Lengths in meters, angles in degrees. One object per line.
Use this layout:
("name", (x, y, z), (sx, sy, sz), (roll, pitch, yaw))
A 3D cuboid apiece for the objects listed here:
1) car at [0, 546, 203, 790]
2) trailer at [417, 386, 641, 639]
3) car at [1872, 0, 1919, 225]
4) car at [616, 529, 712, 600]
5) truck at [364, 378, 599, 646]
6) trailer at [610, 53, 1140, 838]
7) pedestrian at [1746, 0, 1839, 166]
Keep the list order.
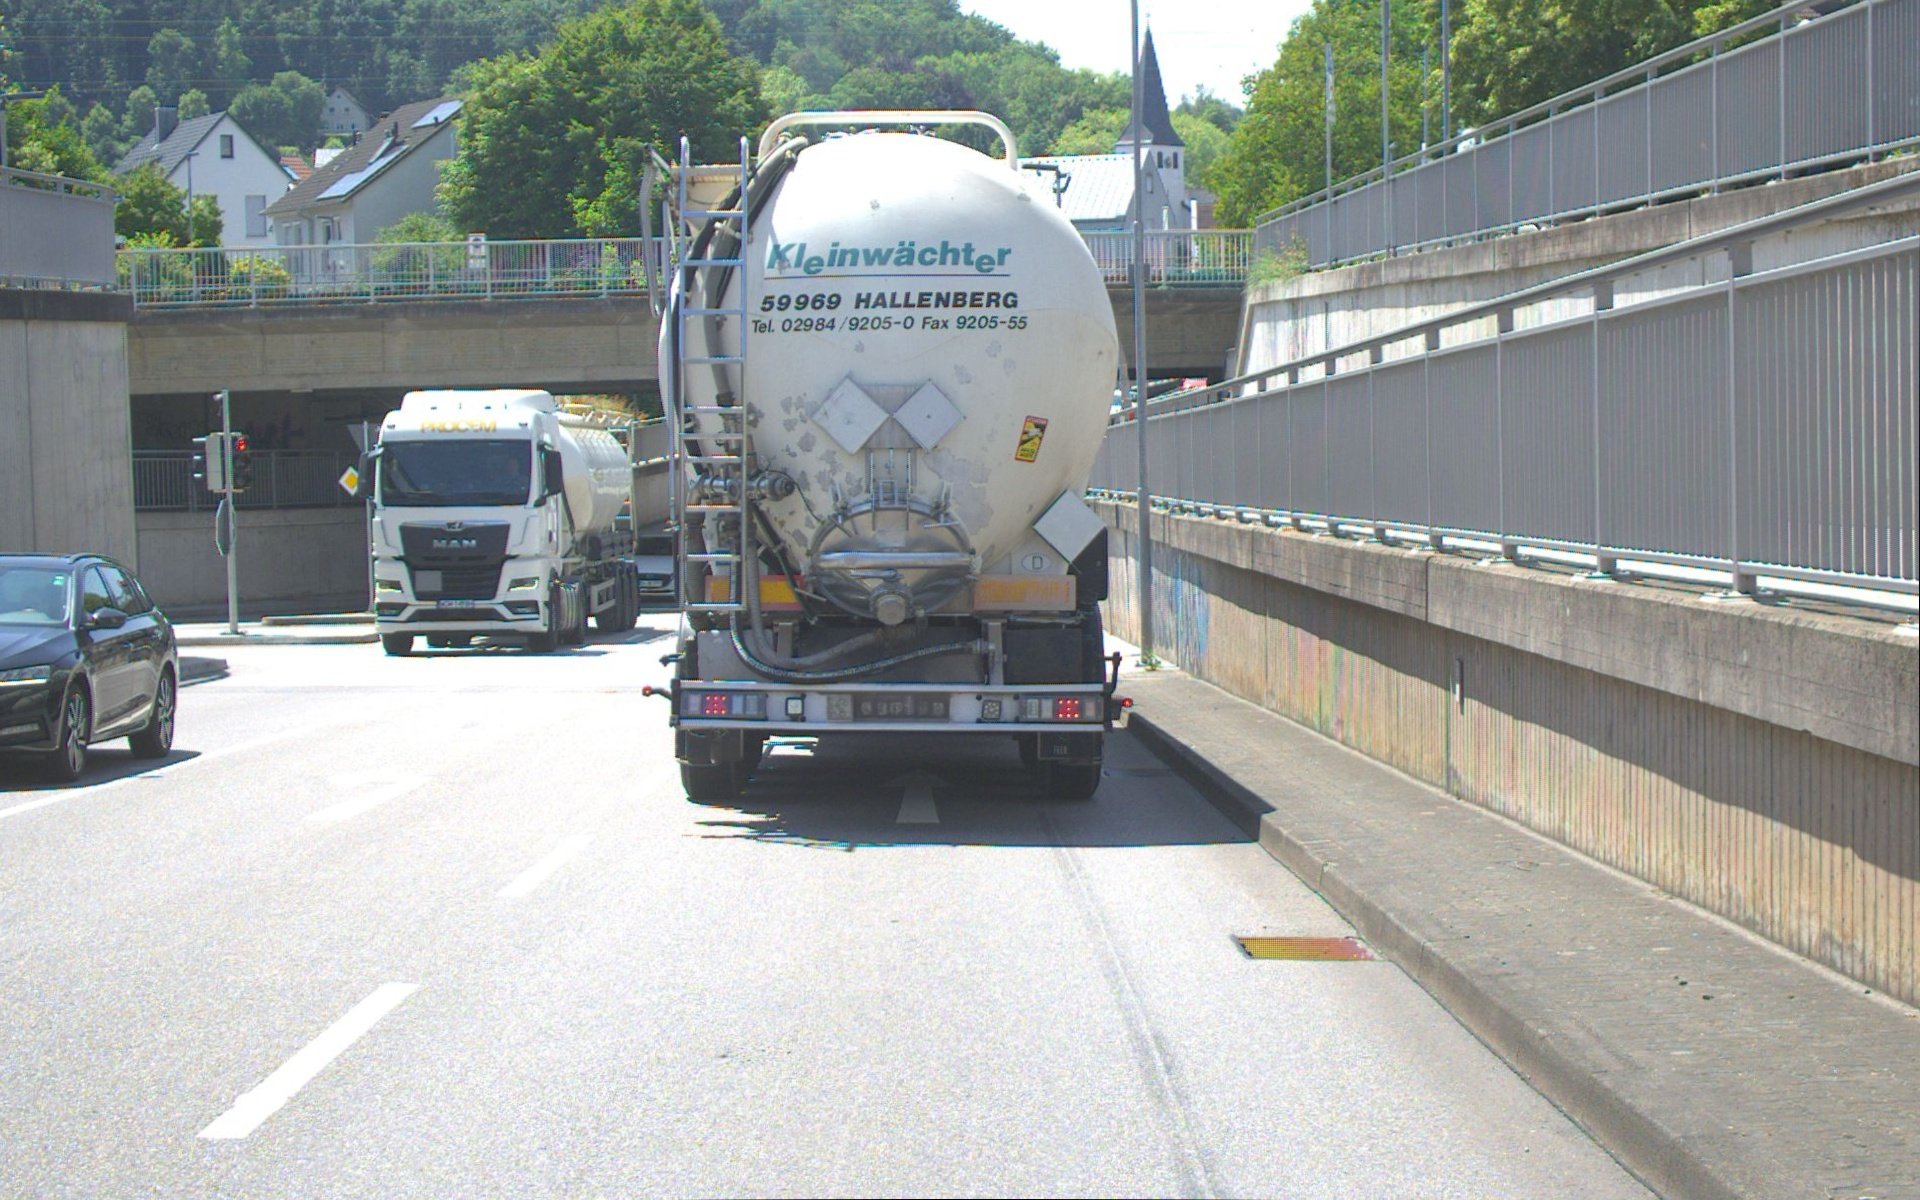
("car", (-6.465, 0.382, 23.185), (1.760, 1.484, 4.369), (0, 1, 0))
("trailer", (-7.174, -1.431, 58.407), (2.610, 3.950, 9.346), (0, 1, 0))
("car", (9.739, -4.125, 28.511), (3.905, 1.878, 1.686), (-1, 4, 1))
("car", (-6.452, -0.794, 75.282), (1.682, 1.435, 4.094), (2, 1, 0))
("truck", (-7.193, -1.303, 52.526), (2.662, 3.847, 6.580), (0, 1, 0))
("trailer", (-0.447, -0.898, 24.419), (2.735, 4.050, 13.313), (0, 1, 0))
("pedestrian", (7.295, -4.720, 30.148), (0.673, 1.773, 0.594), (-1, 4, 1))
